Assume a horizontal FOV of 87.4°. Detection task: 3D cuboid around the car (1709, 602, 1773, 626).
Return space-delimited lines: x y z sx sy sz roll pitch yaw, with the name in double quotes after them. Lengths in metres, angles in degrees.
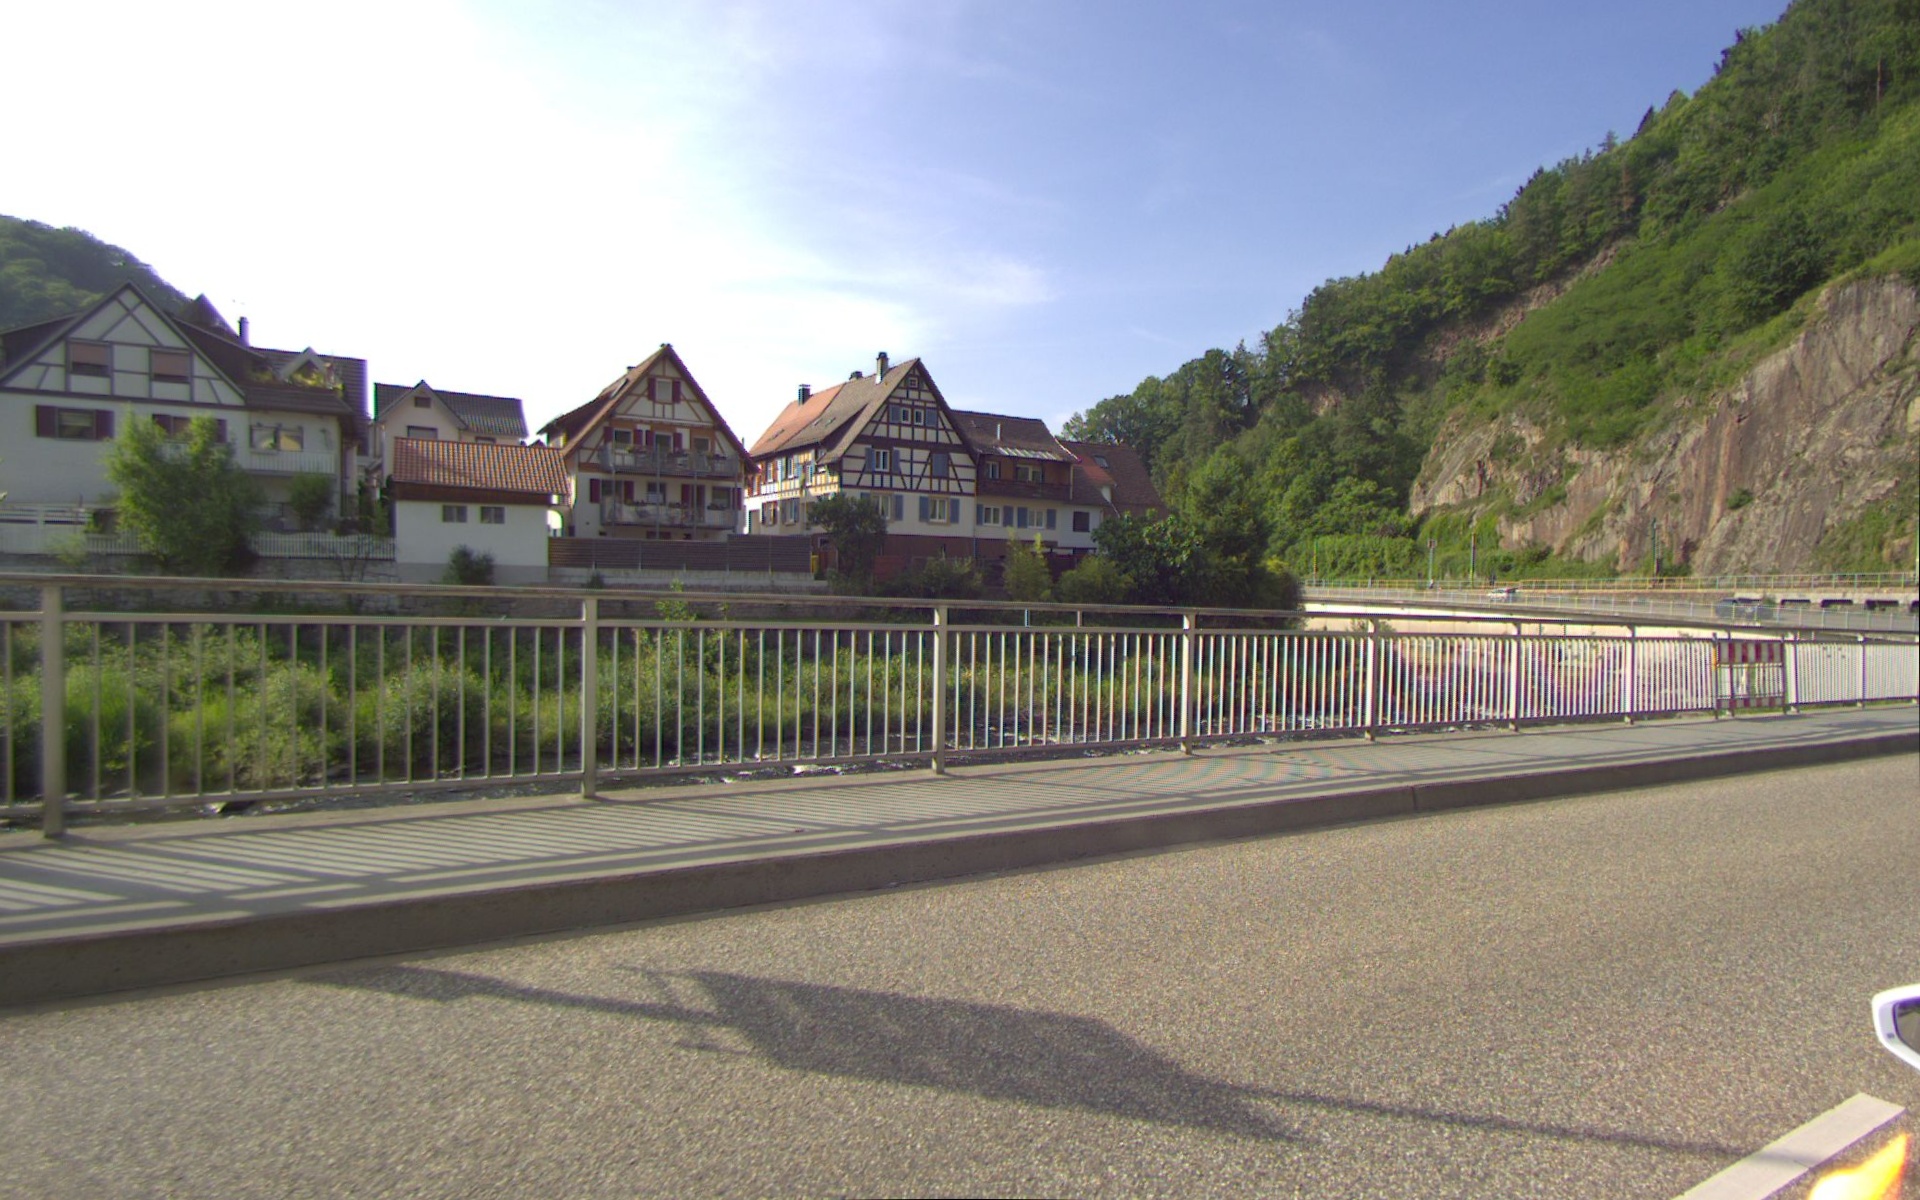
59.328 1.018 76.344 1.785 1.665 4.000 1 1 2 "car"
